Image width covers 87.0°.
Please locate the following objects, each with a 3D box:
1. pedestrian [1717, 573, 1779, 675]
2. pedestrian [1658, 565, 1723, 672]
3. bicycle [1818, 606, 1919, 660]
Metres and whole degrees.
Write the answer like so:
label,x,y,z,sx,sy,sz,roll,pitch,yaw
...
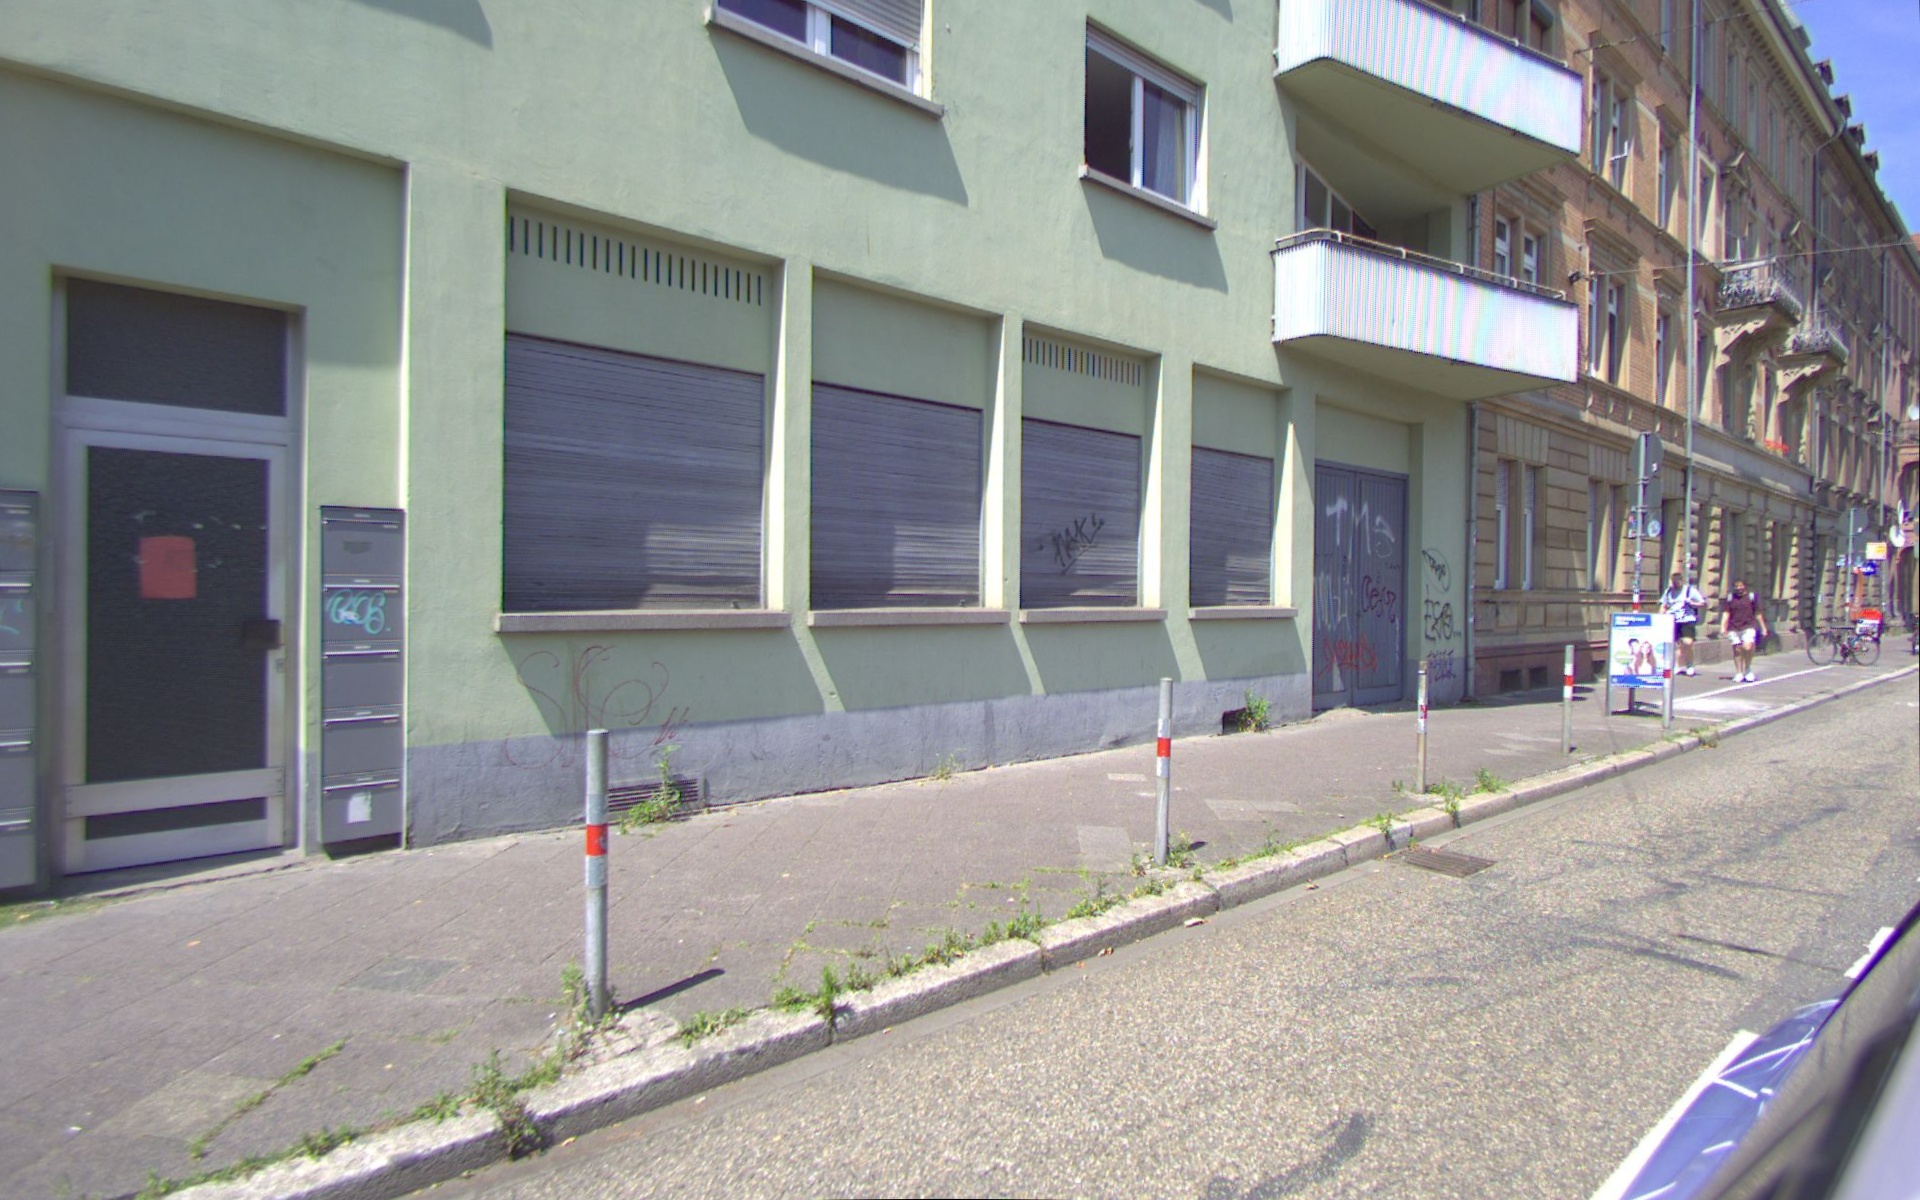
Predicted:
label,x,y,z,sx,sy,sz,roll,pitch,yaw
pedestrian,13.789,0.407,17.719,0.632,1.741,0.722,0,0,-39
pedestrian,13.405,0.324,18.579,0.632,1.871,0.704,0,4,-39
bicycle,19.923,0.715,22.136,2.196,1.145,0.501,0,1,-11
